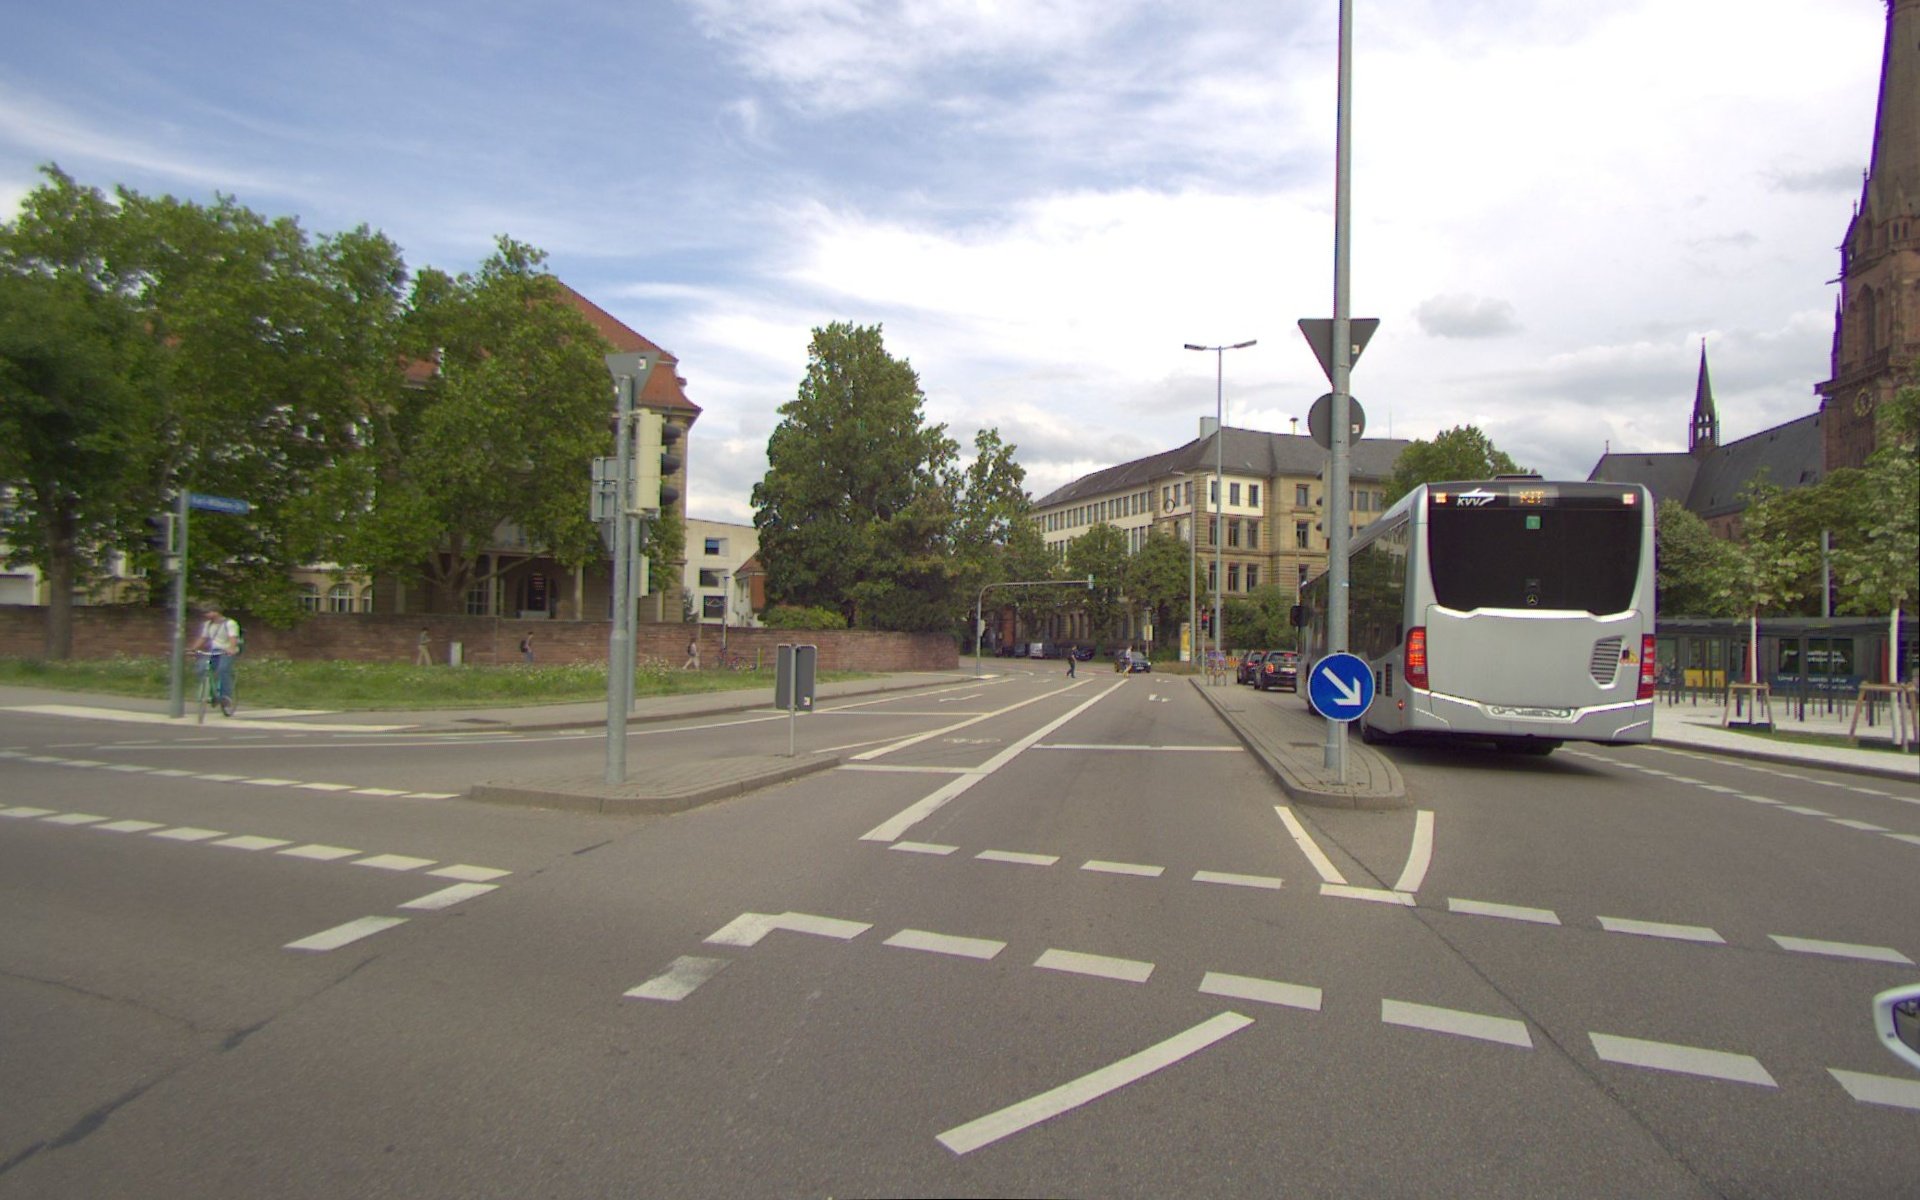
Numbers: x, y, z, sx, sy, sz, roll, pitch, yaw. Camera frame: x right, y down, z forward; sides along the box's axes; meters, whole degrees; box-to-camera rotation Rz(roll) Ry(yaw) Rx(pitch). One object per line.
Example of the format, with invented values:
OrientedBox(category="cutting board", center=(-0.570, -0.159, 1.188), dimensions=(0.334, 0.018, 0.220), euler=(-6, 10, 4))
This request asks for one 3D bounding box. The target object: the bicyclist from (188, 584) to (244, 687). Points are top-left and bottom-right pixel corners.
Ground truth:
OrientedBox(category="bicyclist", center=(-11.689, 0.552, 15.803), dimensions=(0.573, 1.576, 0.791), euler=(3, -1, -32))

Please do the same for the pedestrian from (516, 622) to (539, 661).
OrientedBox(category="pedestrian", center=(-19.053, 1.815, 44.222), dimensions=(0.569, 1.676, 0.777), euler=(1, 0, 45))

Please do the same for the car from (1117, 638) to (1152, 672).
OrientedBox(category="car", center=(11.707, 3.670, 67.677), dimensions=(1.960, 2.040, 4.002), euler=(1, 0, 5))

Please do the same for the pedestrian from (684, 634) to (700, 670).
OrientedBox(category="pedestrian", center=(-12.875, 2.490, 48.238), dimensions=(0.621, 1.676, 0.528), euler=(1, 0, -25))

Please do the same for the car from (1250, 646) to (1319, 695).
OrientedBox(category="car", center=(11.625, 2.487, 36.201), dimensions=(1.959, 1.506, 4.002), euler=(1, 0, 13))

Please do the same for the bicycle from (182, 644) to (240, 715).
OrientedBox(category="bicycle", center=(-11.672, 1.218, 15.697), dimensions=(0.500, 0.948, 1.955), euler=(3, -1, -31))

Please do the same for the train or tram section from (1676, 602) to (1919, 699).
OrientedBox(category="train or tram section", center=(32.713, 1.743, 37.660), dimensions=(3.019, 3.255, 9.377), euler=(1, 0, -23))

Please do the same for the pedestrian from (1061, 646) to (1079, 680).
OrientedBox(category="pedestrian", center=(5.908, 3.378, 53.993), dimensions=(0.784, 1.734, 0.840), euler=(1, 0, 17))

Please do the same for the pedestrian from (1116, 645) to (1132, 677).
OrientedBox(category="pedestrian", center=(9.093, 3.374, 55.608), dimensions=(0.784, 1.734, 0.840), euler=(1, 0, 17))

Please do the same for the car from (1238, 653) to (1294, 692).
OrientedBox(category="car", center=(13.085, 3.075, 43.176), dimensions=(1.959, 1.379, 4.277), euler=(1, 0, 13))

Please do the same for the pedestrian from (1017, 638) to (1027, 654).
OrientedBox(category="pedestrian", center=(7.638, 5.694, 124.202), dimensions=(0.875, 2.040, 1.006), euler=(2, -2, -14))

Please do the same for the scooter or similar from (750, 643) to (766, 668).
OrientedBox(category="scooter or similar", center=(-10.170, 2.792, 50.635), dimensions=(0.510, 1.154, 1.519), euler=(1, 0, -2))

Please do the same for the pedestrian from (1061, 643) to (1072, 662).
OrientedBox(category="pedestrian", center=(11.935, 5.846, 112.420), dimensions=(0.875, 2.040, 1.006), euler=(2, -2, -14))

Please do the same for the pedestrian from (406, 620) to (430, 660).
OrientedBox(category="pedestrian", center=(-23.045, 1.710, 42.693), dimensions=(0.776, 1.676, 0.570), euler=(1, 0, -40))

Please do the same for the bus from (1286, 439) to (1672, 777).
OrientedBox(category="bus", center=(7.680, 0.494, 17.542), dimensions=(2.658, 3.482, 14.197), euler=(1, -3, 14))

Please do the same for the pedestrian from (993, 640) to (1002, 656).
OrientedBox(category="pedestrian", center=(4.876, 6.239, 129.468), dimensions=(0.875, 2.040, 1.006), euler=(2, -2, -14))

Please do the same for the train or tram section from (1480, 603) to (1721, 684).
OrientedBox(category="train or tram section", center=(29.083, 1.821, 46.311), dimensions=(3.019, 3.321, 9.318), euler=(1, 0, -23))

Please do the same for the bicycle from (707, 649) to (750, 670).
OrientedBox(category="bicycle", center=(-11.462, 2.937, 49.704), dimensions=(1.904, 1.018, 0.773), euler=(1, 0, -31))

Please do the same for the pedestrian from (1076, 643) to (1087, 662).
OrientedBox(category="pedestrian", center=(13.200, 5.725, 108.903), dimensions=(0.875, 2.040, 1.006), euler=(2, -2, -14))
